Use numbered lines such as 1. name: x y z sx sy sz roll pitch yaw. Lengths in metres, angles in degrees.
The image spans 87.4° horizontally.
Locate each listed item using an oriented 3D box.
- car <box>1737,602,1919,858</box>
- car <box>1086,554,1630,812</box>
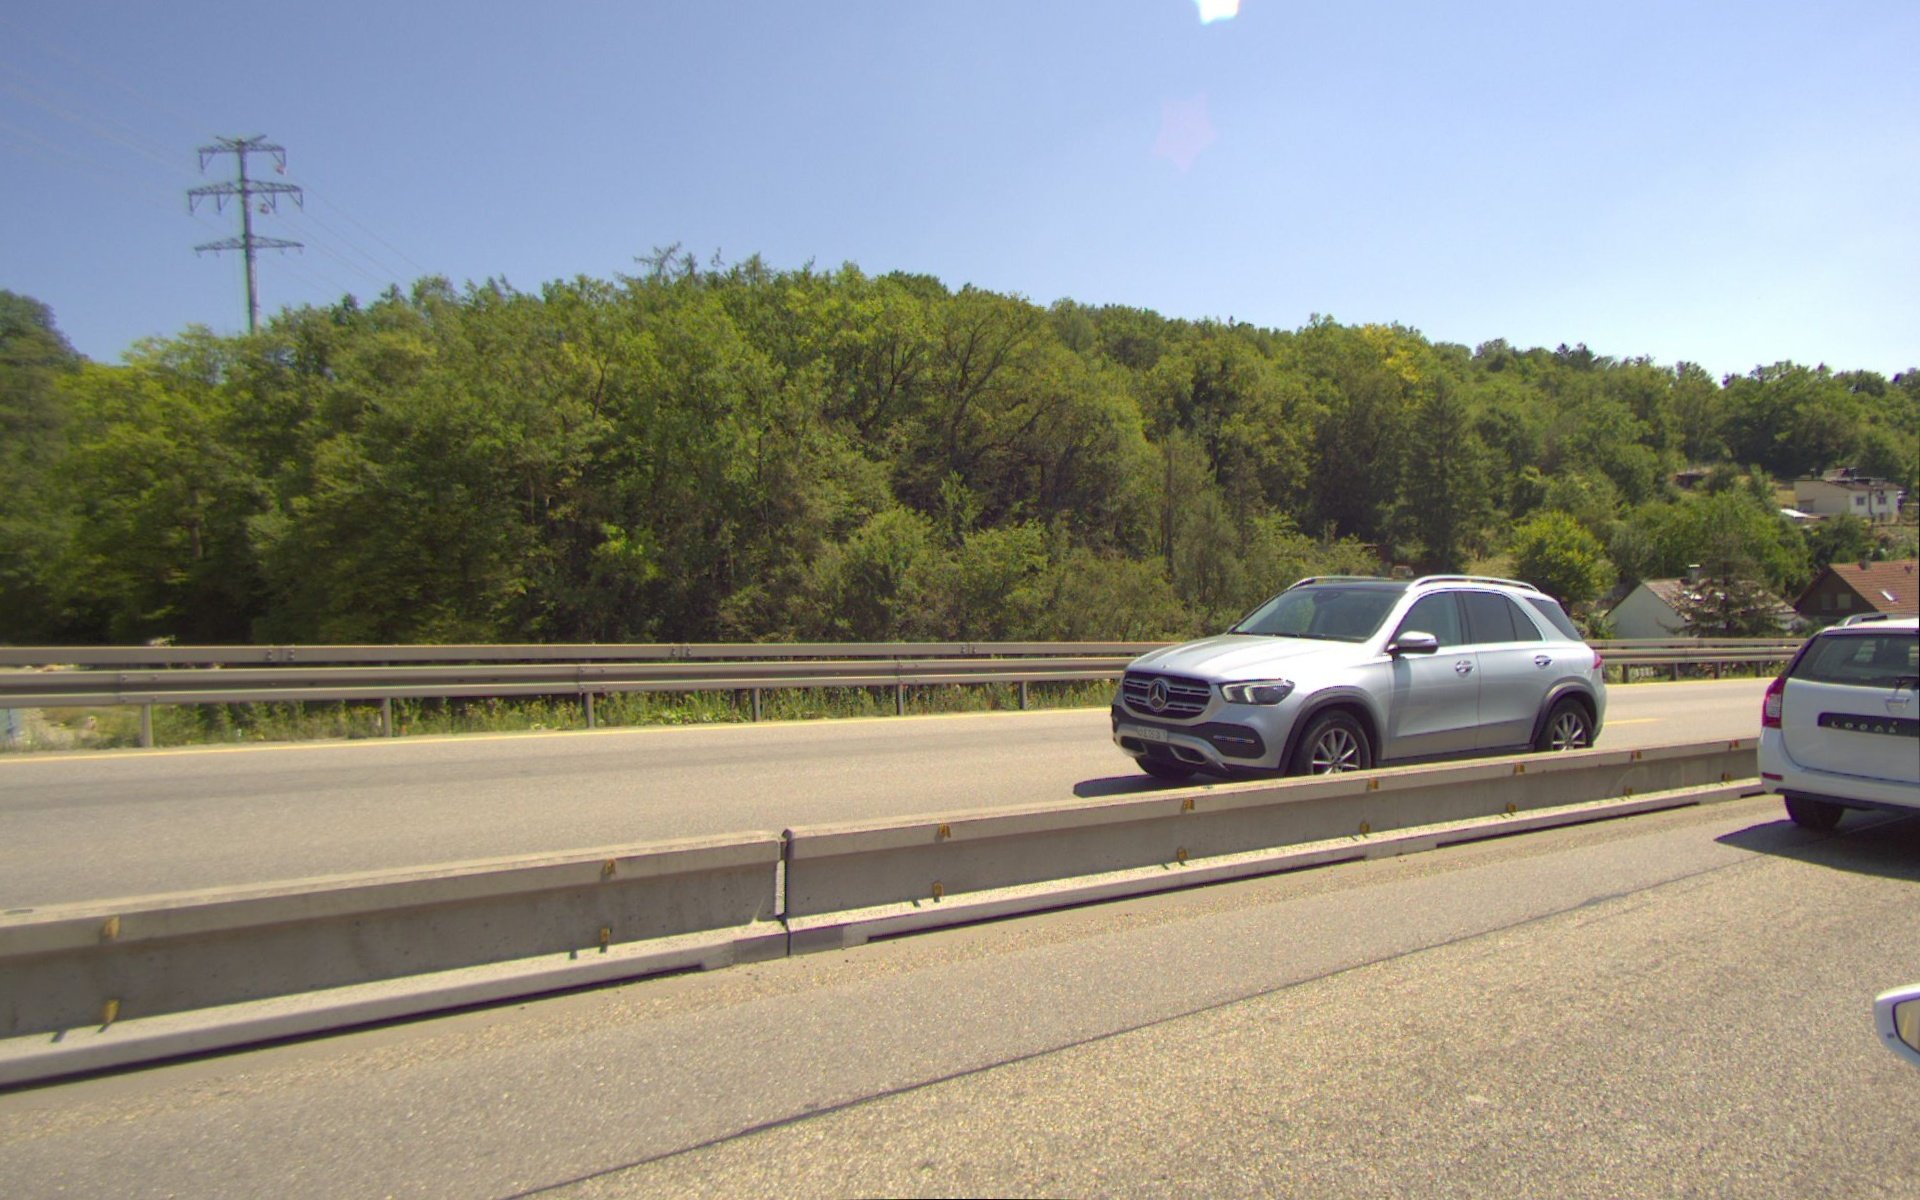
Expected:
1. car: 7.427 0.827 7.044 4.215 1.503 1.644 2 -2 -30
2. car: 3.553 0.586 8.736 4.680 1.728 1.903 1 0 -30
